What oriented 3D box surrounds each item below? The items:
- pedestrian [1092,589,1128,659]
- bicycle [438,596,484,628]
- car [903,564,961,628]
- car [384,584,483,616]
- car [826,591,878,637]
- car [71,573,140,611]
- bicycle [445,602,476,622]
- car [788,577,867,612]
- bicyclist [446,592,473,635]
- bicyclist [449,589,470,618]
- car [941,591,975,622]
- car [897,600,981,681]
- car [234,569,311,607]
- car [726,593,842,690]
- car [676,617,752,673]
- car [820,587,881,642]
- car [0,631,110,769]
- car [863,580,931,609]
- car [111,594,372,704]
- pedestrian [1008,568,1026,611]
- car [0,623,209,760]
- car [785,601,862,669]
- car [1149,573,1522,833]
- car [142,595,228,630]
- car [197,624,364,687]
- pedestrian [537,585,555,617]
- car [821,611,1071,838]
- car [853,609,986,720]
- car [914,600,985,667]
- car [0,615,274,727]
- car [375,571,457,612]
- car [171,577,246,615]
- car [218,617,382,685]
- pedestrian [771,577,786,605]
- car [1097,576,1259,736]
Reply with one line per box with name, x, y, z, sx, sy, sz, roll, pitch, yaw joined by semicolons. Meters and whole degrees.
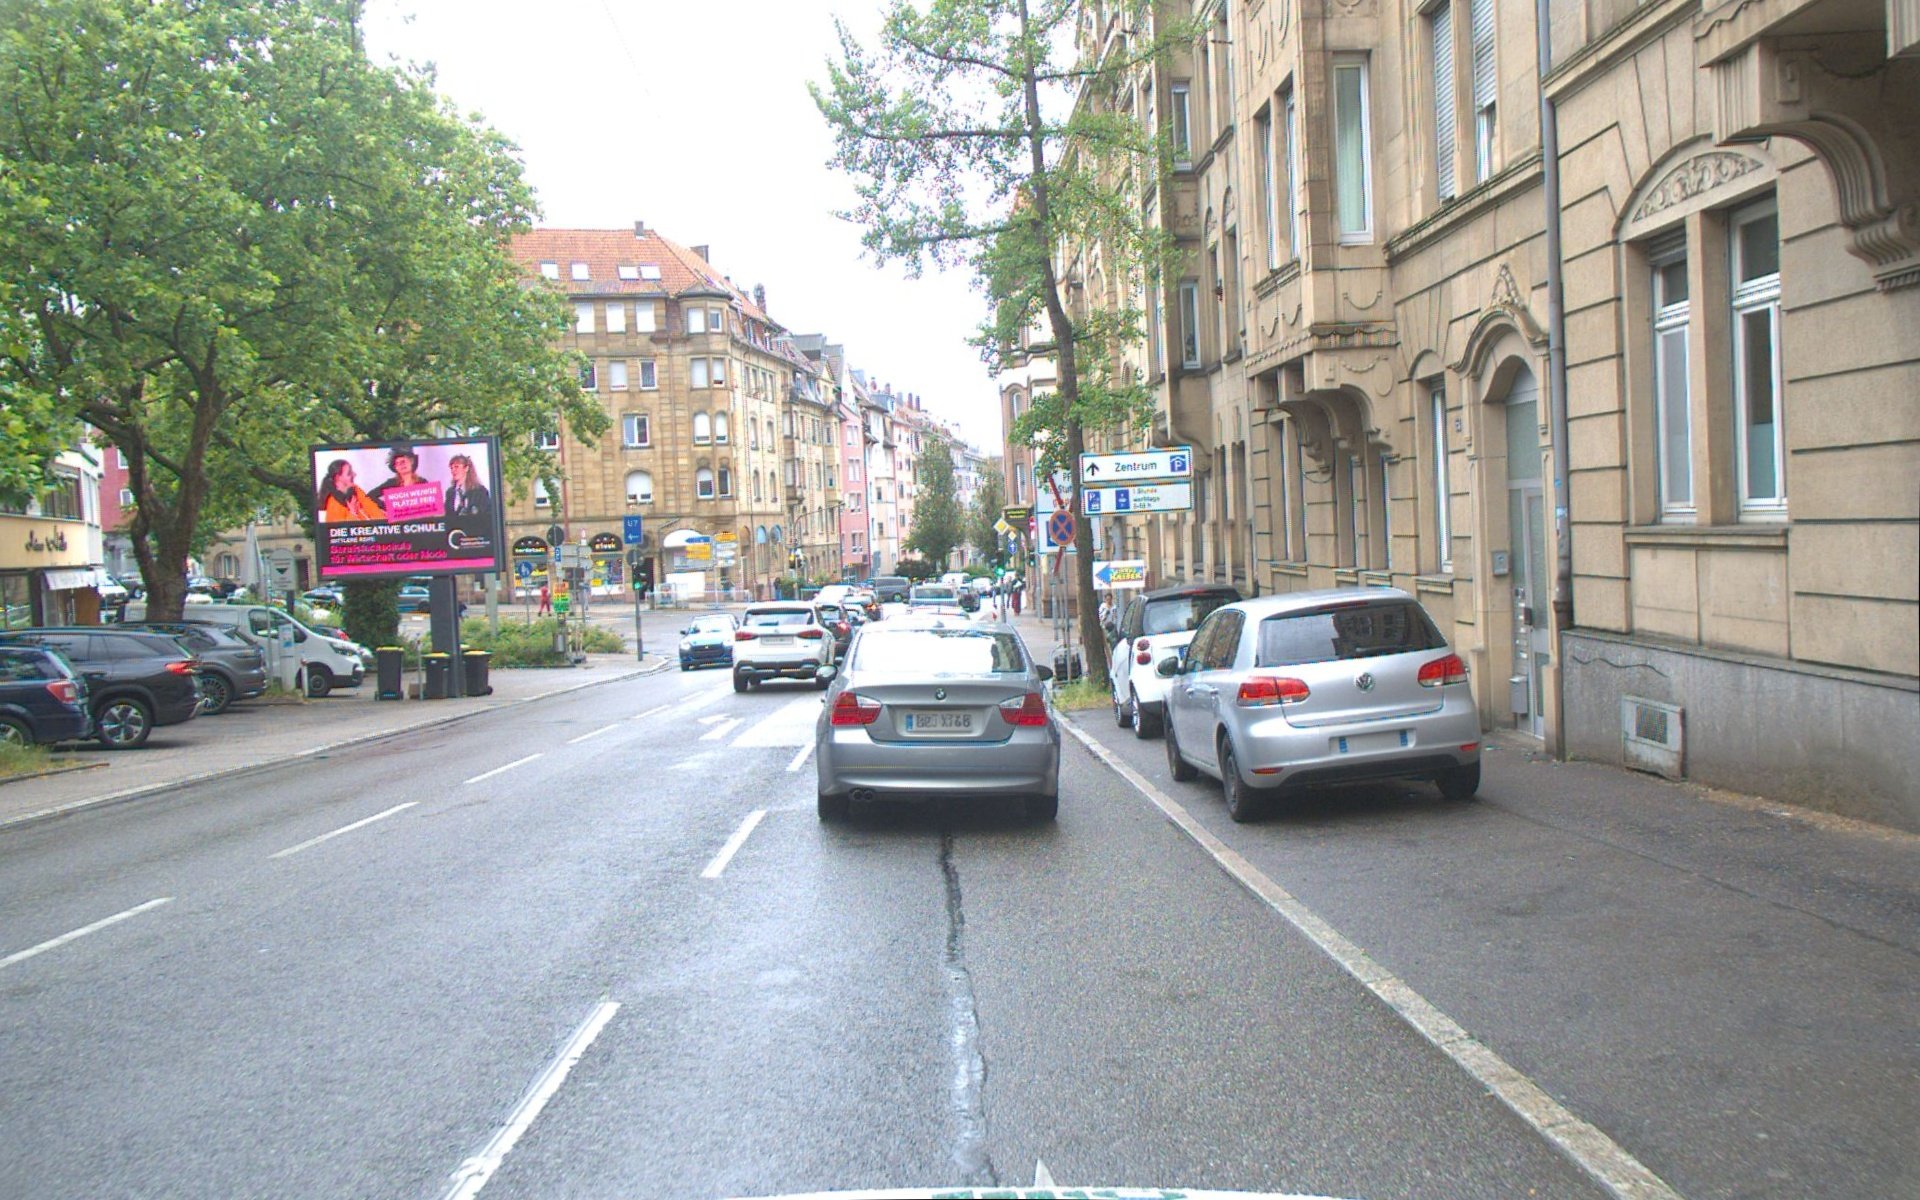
pedestrian;3.438;0.536;37.938;0.618;1.534;0.693;-6;0;-2
bicycle;-22.535;0.525;74.794;0.657;1.343;2.276;-3;0;22
car;-0.990;-0.120;57.936;1.953;2.143;3.999;0;-1;-1
car;-28.016;-0.006;88.127;4.541;1.606;2.001;1;-1;5
car;-4.229;0.537;65.102;1.723;1.737;4.000;-1;0;0
car;-47.518;-0.447;91.947;3.913;2.049;1.573;-1;0;31
bicycle;-22.615;0.554;74.892;0.561;0.873;1.522;1;-1;17
car;-6.514;-0.250;81.737;1.957;1.606;3.991;0;-1;31
bicyclist;-22.589;0.613;74.704;0.766;1.852;0.770;-3;0;22
bicyclist;-22.635;0.138;74.821;0.557;1.295;0.689;0;-1;20
car;-0.080;0.360;86.997;1.689;1.580;4.000;1;-1;1
car;-0.382;0.749;32.809;1.562;1.490;4.000;0;0;0
car;-40.578;-0.730;97.682;4.196;2.138;1.998;1;2;28
car;-3.337;0.748;32.011;1.830;1.654;3.999;-3;0;-1
car;-7.045;1.258;47.695;1.680;1.476;3.741;-2;0;-1
car;-3.600;0.461;54.926;1.723;1.737;4.000;-1;0;0
car;-12.919;1.293;20.202;4.299;1.601;1.929;-3;0;-24
car;-4.779;-0.394;125.946;5.072;2.049;2.697;1;-1;-1
car;-15.317;1.012;35.546;4.989;2.142;1.979;-1;-1;-22
pedestrian;2.590;-0.479;75.117;0.727;1.943;0.659;-2;0;-2
car;-12.824;1.276;22.895;4.308;1.701;1.842;-3;0;-24
car;-3.653;0.897;44.866;1.723;1.737;4.000;-1;0;0
car;2.633;0.662;12.578;1.725;1.476;3.999;-6;0;-1
car;-41.258;0.650;88.055;4.155;1.756;1.998;0;2;29
car;-17.647;1.410;43.085;3.916;1.476;1.757;-1;-1;-22
pedestrian;-20.961;0.064;83.740;0.525;1.605;0.719;-2;0;21
car;-0.079;0.809;12.411;1.590;1.407;3.615;-1;0;0
car;-0.522;0.850;23.655;1.723;1.407;4.000;-1;0;0
car;-0.315;0.829;42.672;1.724;1.594;3.999;-1;0;-2
car;-14.921;1.248;30.274;4.295;1.815;1.927;-1;-1;-22
car;-30.337;-0.499;92.254;4.196;2.138;1.998;1;2;28
car;-45.481;-0.257;100.049;4.196;2.138;1.998;1;2;28
car;-18.151;1.383;45.535;4.069;1.682;1.756;-1;-1;-24
pedestrian;-10.617;-0.515;96.932;0.716;1.605;0.528;-2;0;8
car;2.437;0.594;19.073;1.273;1.569;2.975;-6;0;-1
